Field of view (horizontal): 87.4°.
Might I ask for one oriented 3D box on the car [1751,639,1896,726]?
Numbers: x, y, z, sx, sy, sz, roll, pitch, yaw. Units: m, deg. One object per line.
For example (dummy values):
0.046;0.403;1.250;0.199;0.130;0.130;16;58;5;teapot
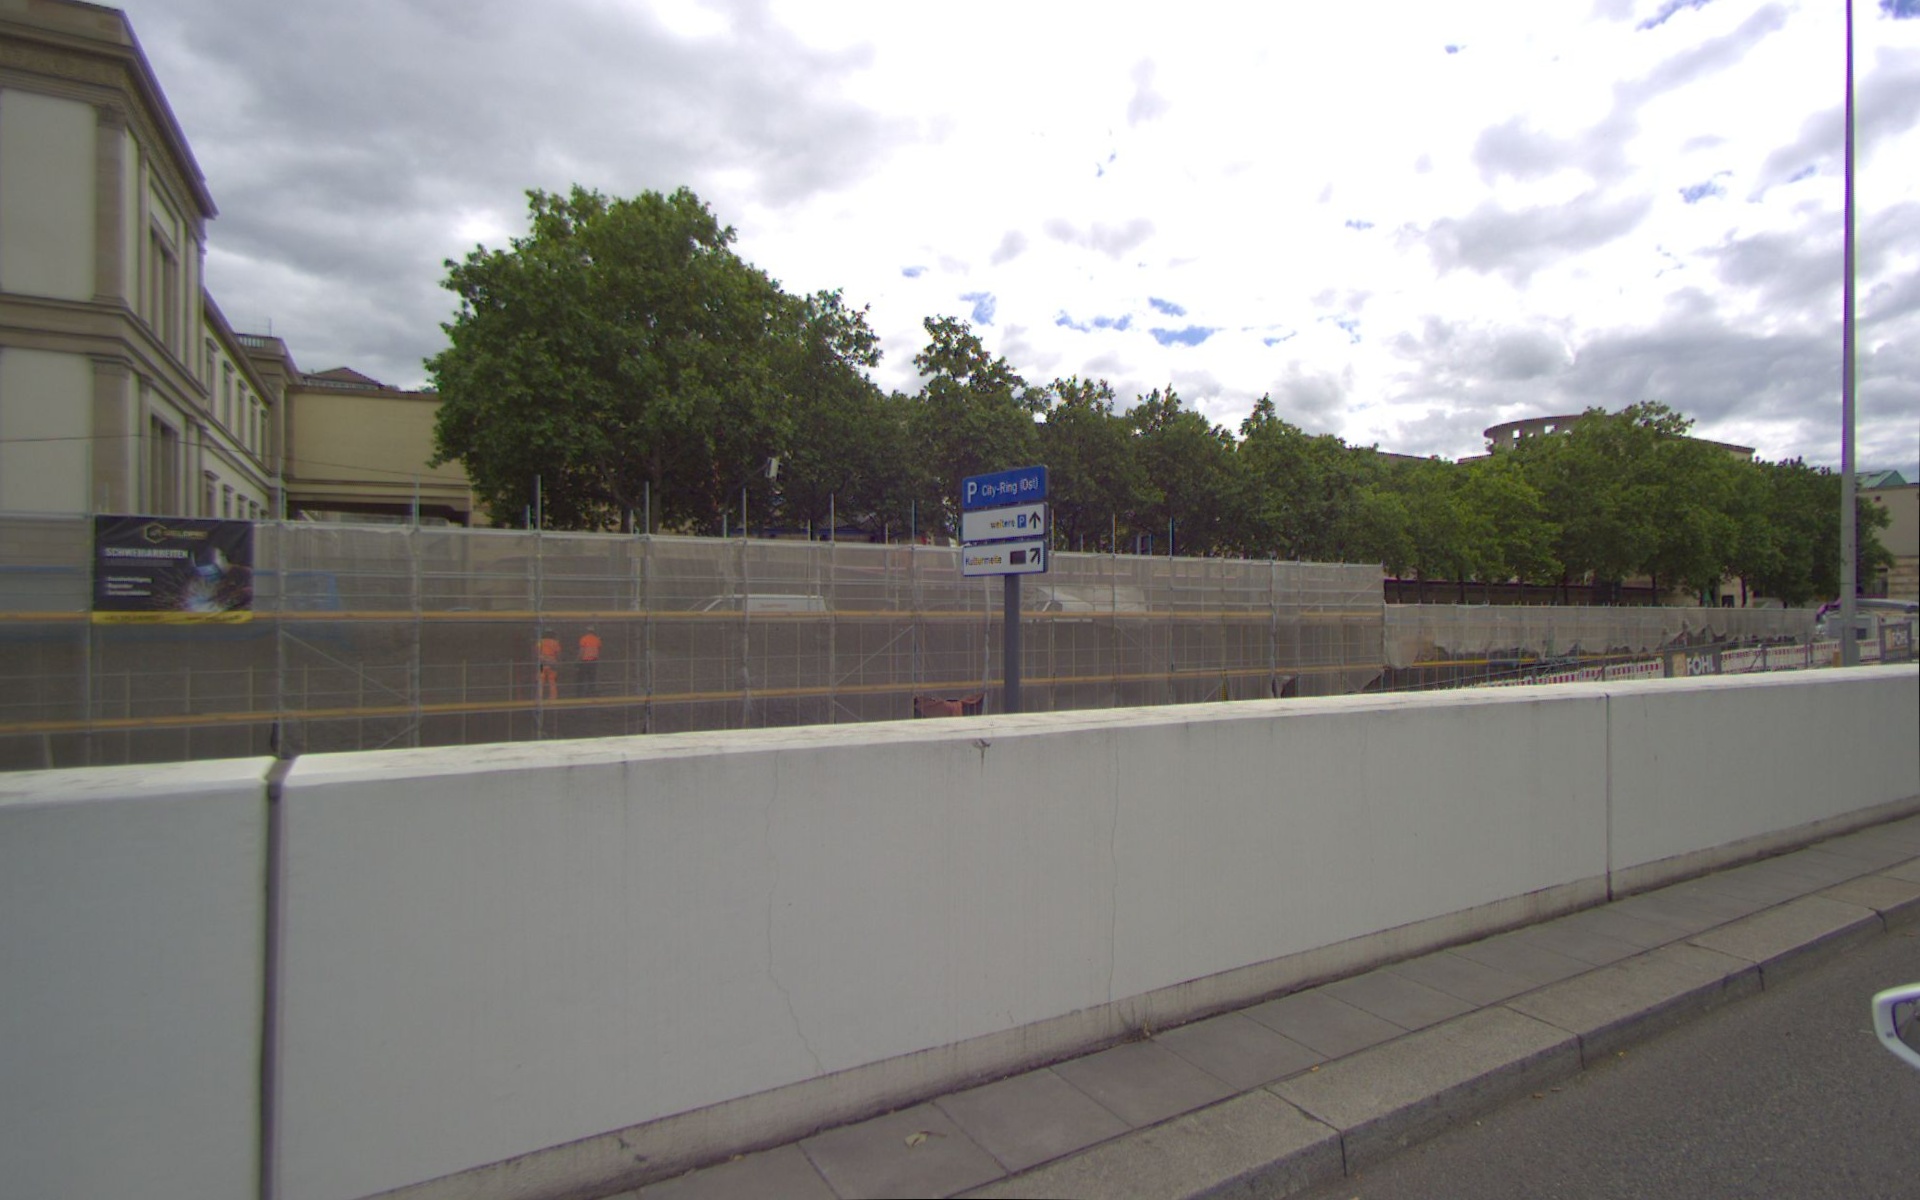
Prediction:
24.037;2.221;27.953;3.955;2.040;1.983;-1;0;-32;car
